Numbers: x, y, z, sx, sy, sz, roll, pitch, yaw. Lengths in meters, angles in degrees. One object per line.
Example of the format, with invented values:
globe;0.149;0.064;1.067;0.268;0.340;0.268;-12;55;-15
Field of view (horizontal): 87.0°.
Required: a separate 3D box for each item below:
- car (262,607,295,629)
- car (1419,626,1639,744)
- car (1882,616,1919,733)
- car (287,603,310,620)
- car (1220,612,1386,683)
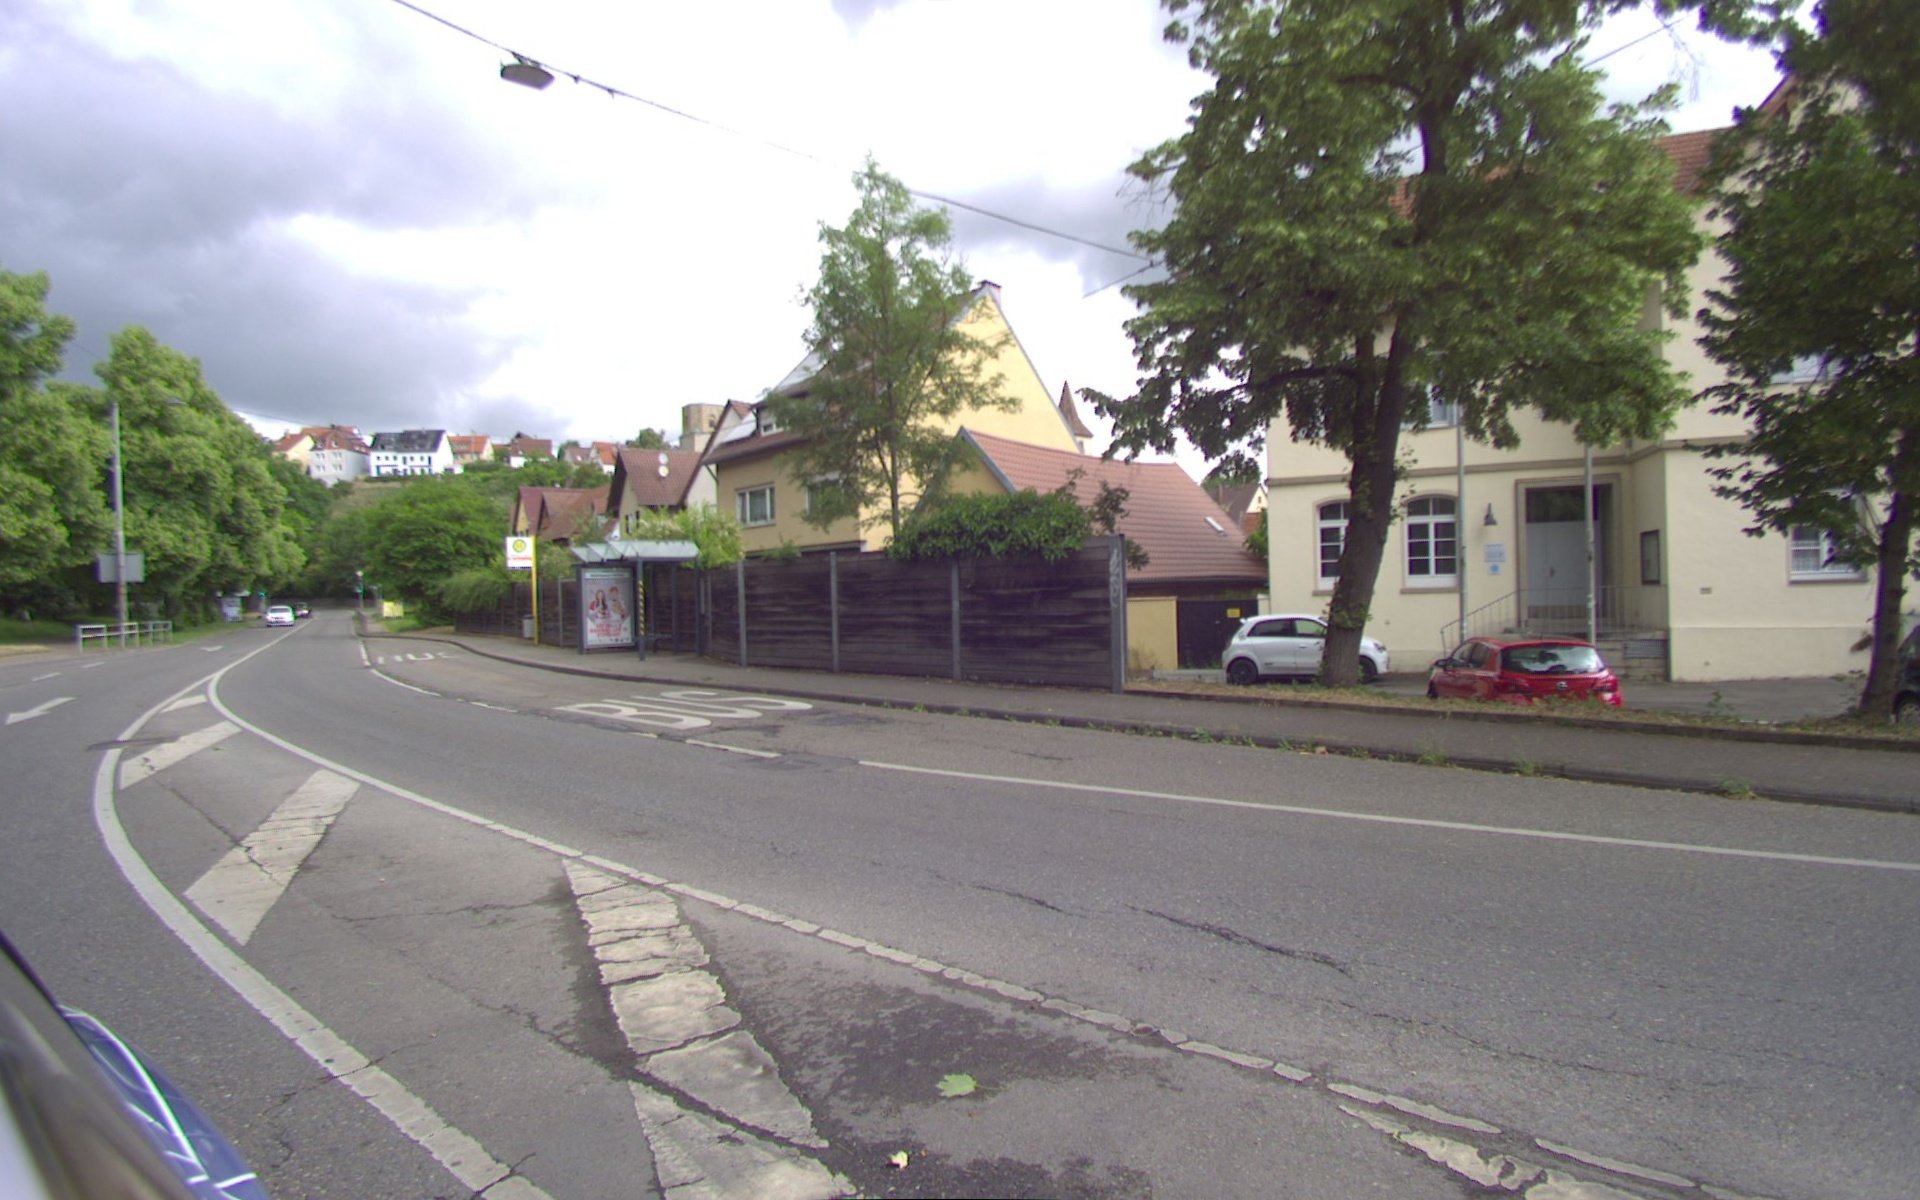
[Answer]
car;-49.791;1.307;73.944;1.735;1.536;3.694;-1;0;-30
car;8.163;1.141;14.900;1.644;1.393;3.708;-1;0;10
car;12.639;0.929;11.317;1.626;1.450;3.567;-1;0;7
car;-66.198;1.120;101.257;1.735;1.596;3.694;-1;0;-30
car;7.726;1.050;22.898;3.411;1.490;1.600;-1;0;21
